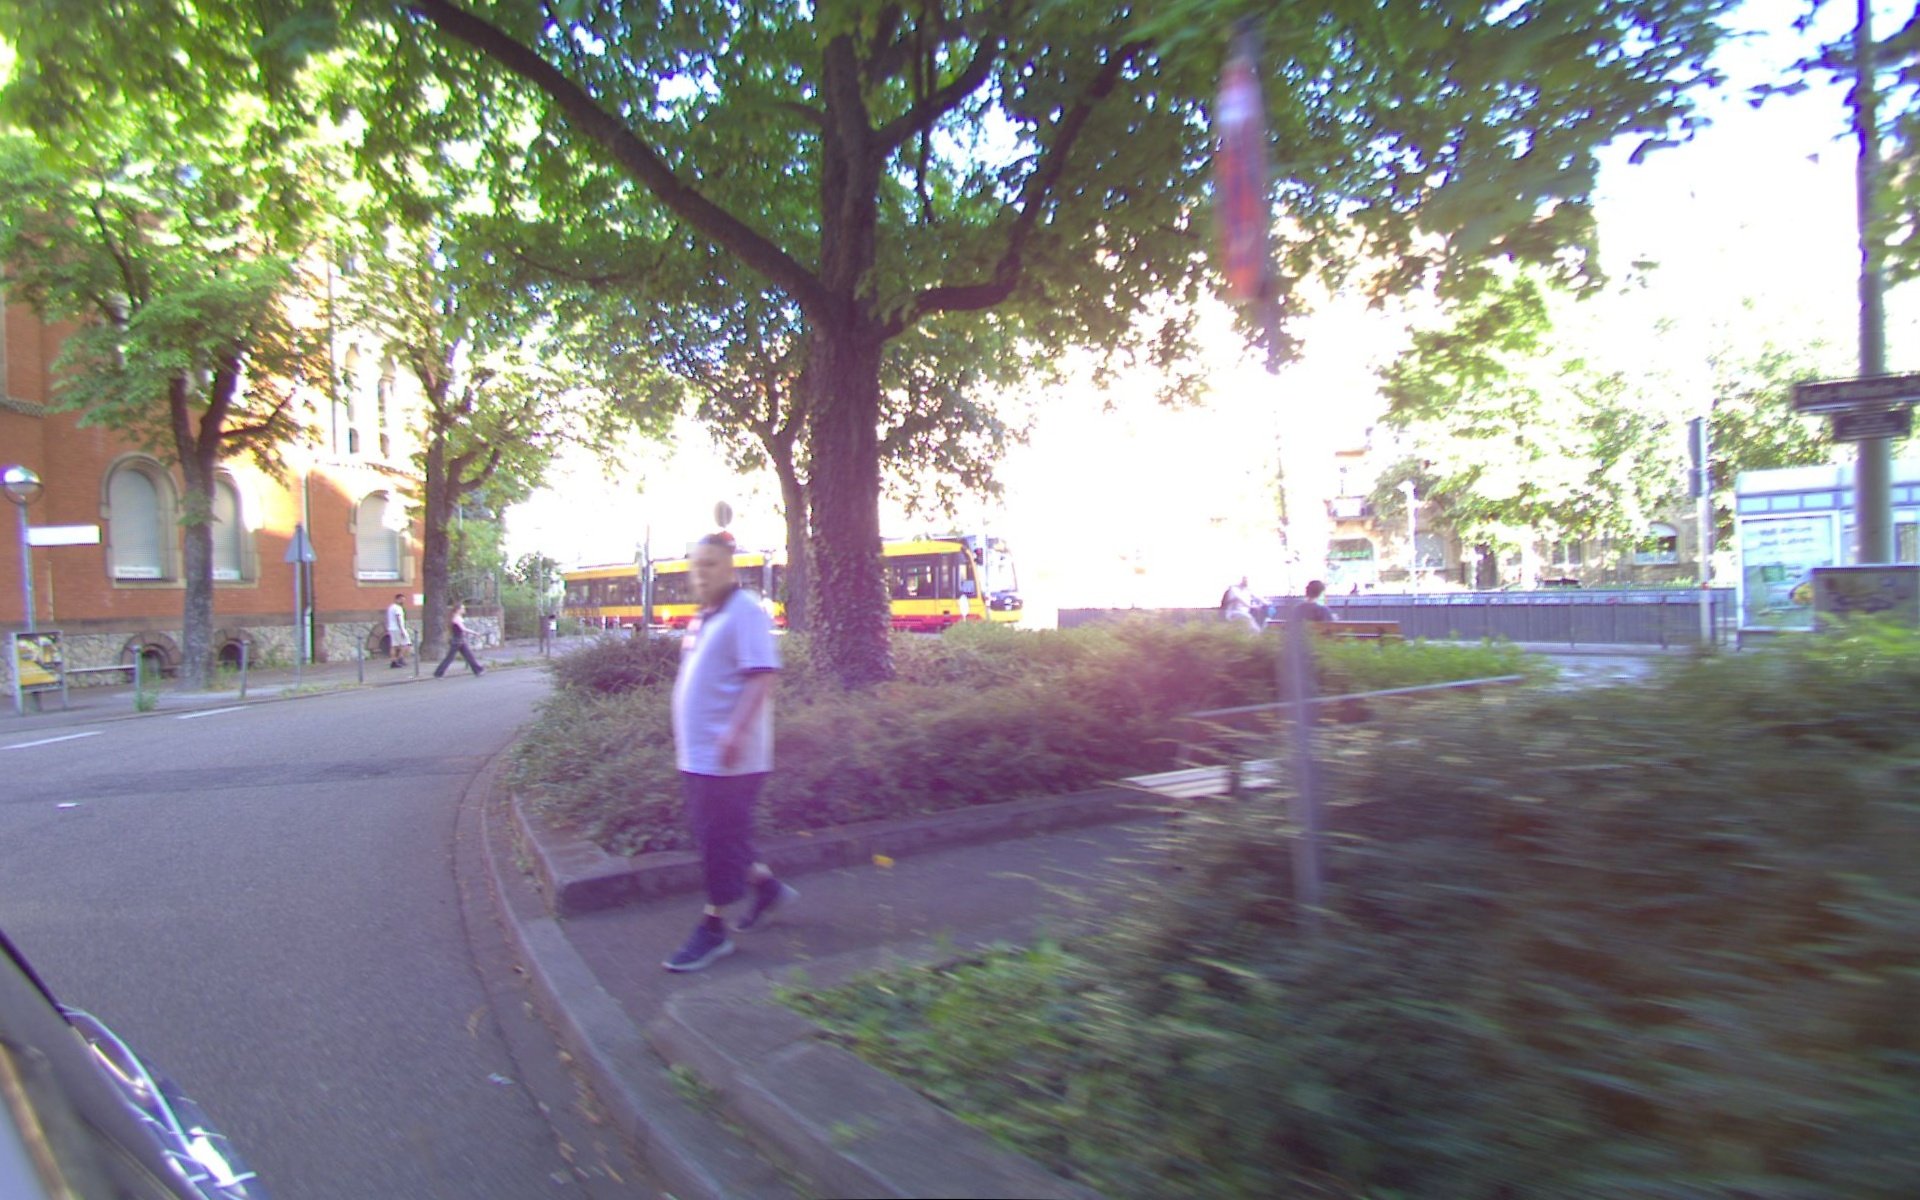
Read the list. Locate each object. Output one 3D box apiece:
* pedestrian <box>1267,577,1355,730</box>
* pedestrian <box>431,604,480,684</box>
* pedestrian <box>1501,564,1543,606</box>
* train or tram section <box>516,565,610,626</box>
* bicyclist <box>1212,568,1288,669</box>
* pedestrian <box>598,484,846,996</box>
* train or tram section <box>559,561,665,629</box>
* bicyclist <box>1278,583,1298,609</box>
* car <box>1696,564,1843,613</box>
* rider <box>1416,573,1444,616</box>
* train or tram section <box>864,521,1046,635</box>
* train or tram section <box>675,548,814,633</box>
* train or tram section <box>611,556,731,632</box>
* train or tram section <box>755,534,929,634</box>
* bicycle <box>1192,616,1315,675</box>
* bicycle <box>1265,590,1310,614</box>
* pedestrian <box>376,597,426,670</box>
[{"bbox_3d":[4.067,0.599,11.784,0.811,1.696,0.895,-2,0,13],"label":"pedestrian"},{"bbox_3d":[-10.650,0.911,21.381,0.840,1.617,0.603,-2,0,-21],"label":"pedestrian"},{"bbox_3d":[27.219,-0.726,49.022,1.481,1.926,1.253,-2,0,17],"label":"pedestrian"},{"bbox_3d":[-24.610,-0.279,62.500,2.929,3.533,7.197,-3,2,-42],"label":"train or tram section"},{"bbox_3d":[5.173,0.325,18.071,0.685,1.729,1.048,-2,0,-43],"label":"bicyclist"},{"bbox_3d":[-0.891,0.462,3.898,0.767,1.696,0.921,-2,0,-11],"label":"pedestrian"},{"bbox_3d":[-19.753,-0.295,57.189,2.929,3.533,7.197,-3,2,-42],"label":"train or tram section"},{"bbox_3d":[14.152,-0.169,43.625,0.669,1.062,0.611,-2,0,6],"label":"bicyclist"},{"bbox_3d":[30.601,-0.433,38.417,3.927,1.692,1.937,-2,0,26],"label":"car"},{"bbox_3d":[18.961,-0.221,40.868,0.659,1.694,0.824,-1,2,-11],"label":"rider"},{"bbox_3d":[-0.302,-0.696,35.961,2.878,3.668,6.354,-2,0,-42],"label":"train or tram section"},{"bbox_3d":[-10.037,-0.389,46.602,2.890,3.626,7.197,-3,1,-42],"label":"train or tram section"},{"bbox_3d":[-14.908,-0.309,51.899,2.895,3.617,7.197,-3,2,-42],"label":"train or tram section"},{"bbox_3d":[-4.958,-0.556,41.038,2.878,3.641,7.868,-2,0,-42],"label":"train or tram section"},{"bbox_3d":[5.190,0.784,18.011,0.759,0.965,1.984,-2,0,-43],"label":"bicycle"},{"bbox_3d":[14.103,0.084,43.628,1.721,0.953,0.653,-2,0,7],"label":"bicycle"},{"bbox_3d":[-13.073,0.770,23.665,0.846,1.655,0.871,-2,0,-38],"label":"pedestrian"}]
